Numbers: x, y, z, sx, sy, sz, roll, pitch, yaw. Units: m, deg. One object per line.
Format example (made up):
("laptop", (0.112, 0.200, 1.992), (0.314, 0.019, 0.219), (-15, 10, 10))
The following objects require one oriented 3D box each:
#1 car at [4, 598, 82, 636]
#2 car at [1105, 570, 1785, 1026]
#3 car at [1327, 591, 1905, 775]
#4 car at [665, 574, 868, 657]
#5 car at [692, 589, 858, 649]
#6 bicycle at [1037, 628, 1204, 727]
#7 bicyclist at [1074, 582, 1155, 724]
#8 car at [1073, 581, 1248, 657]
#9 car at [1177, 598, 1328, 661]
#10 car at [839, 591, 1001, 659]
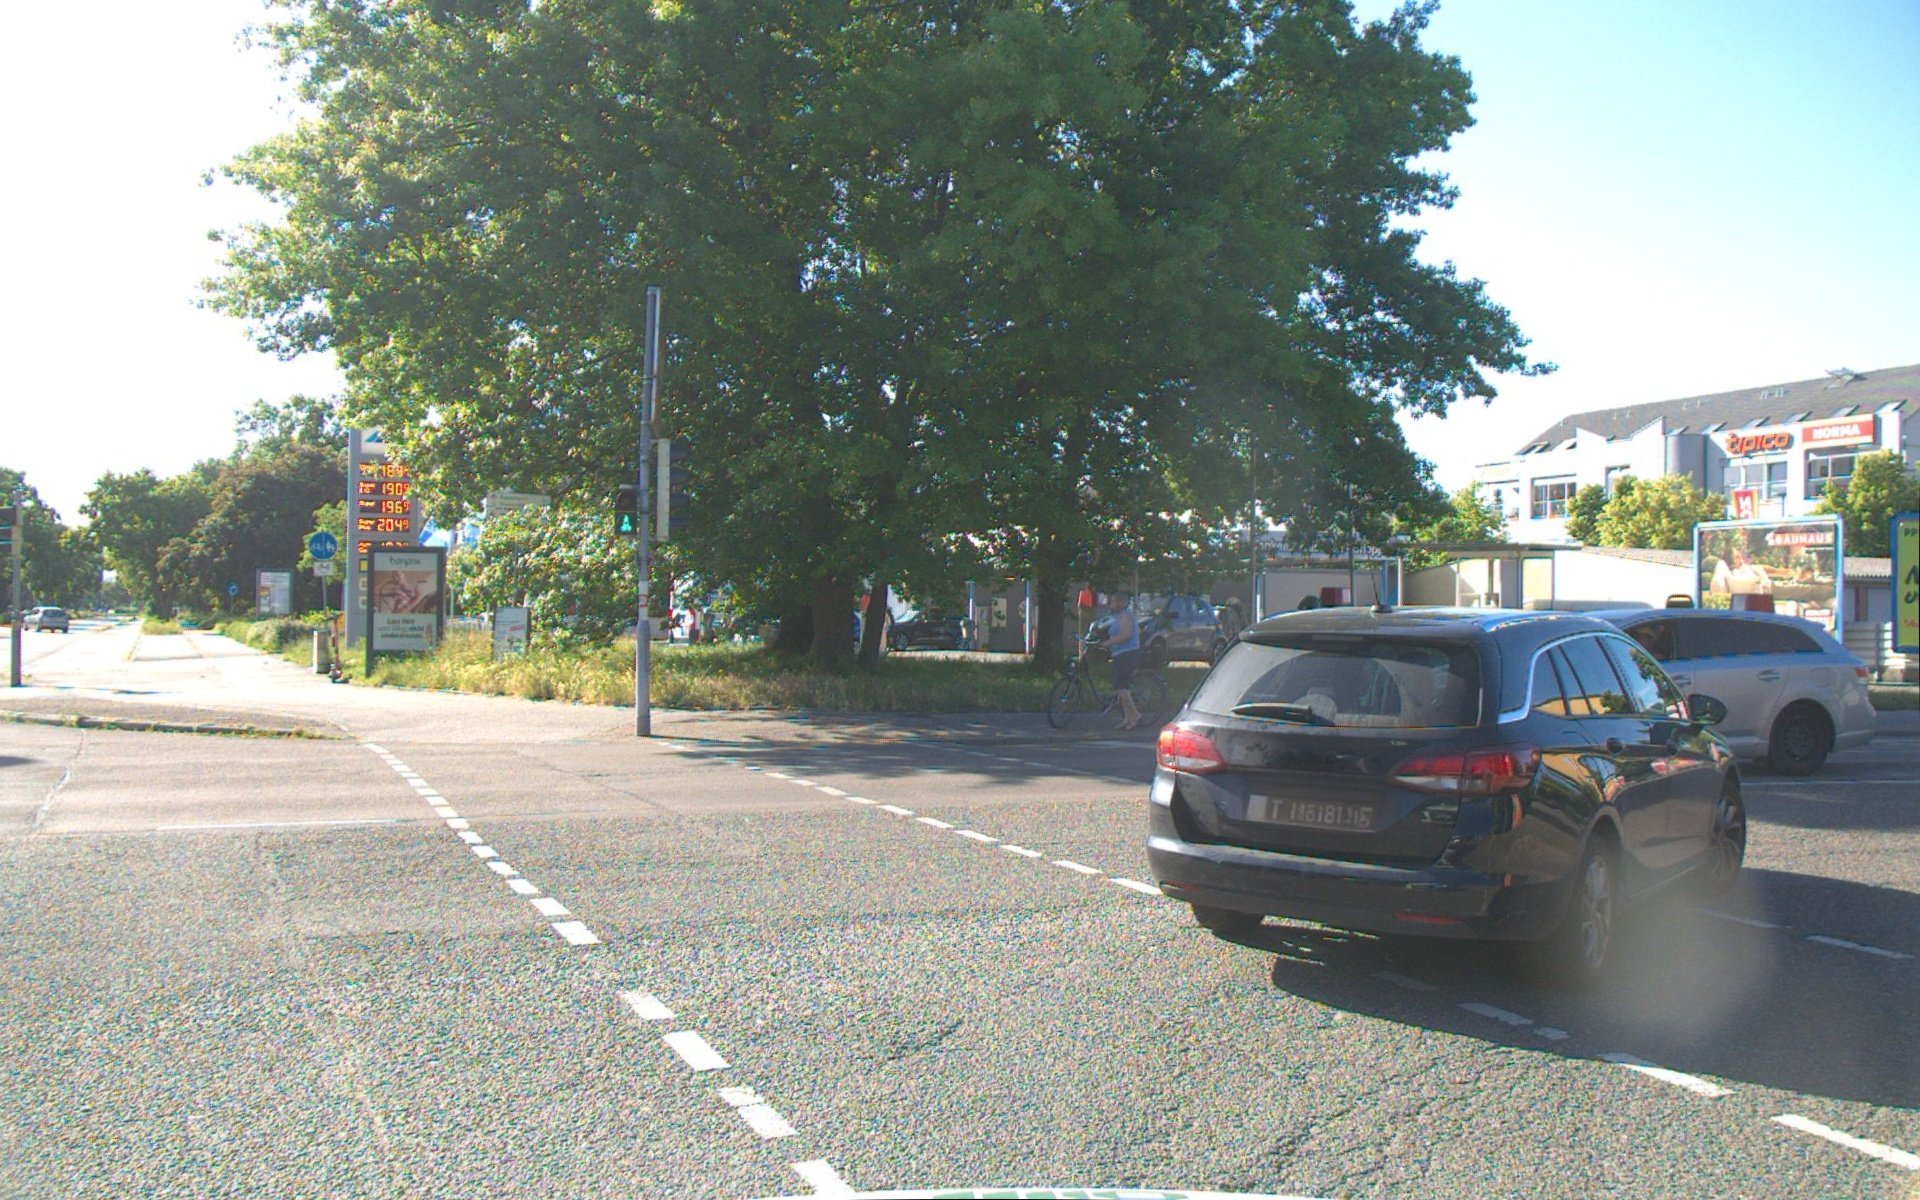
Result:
("car", (-54.799, 1.011, 98.832), (3.907, 2.049, 1.999), (1, -2, 23))
("car", (2.542, 0.684, 7.816), (1.732, 1.517, 4.274), (1, 0, 36))
("car", (5.958, 0.726, 15.154), (4.792, 1.515, 1.835), (1, -2, -15))
("car", (-5.680, 0.486, 48.741), (5.569, 2.136, 1.982), (3, -2, -28))
("car", (-4.831, 0.515, 43.399), (3.958, 1.358, 1.775), (4, -3, -38))
("bicycle", (1.940, 0.921, 19.983), (1.990, 1.161, 0.526), (0, -1, -21))
("bicyclist", (1.862, 0.632, 19.957), (0.815, 1.670, 0.539), (1, -1, -21))
("car", (4.249, 0.428, 34.636), (1.727, 1.400, 3.978), (1, -3, 40))
("car", (8.531, 0.866, 48.177), (3.941, 1.635, 1.982), (3, -2, -28))
("car", (-0.985, 0.650, 42.070), (3.956, 1.538, 1.512), (4, -3, -36))
